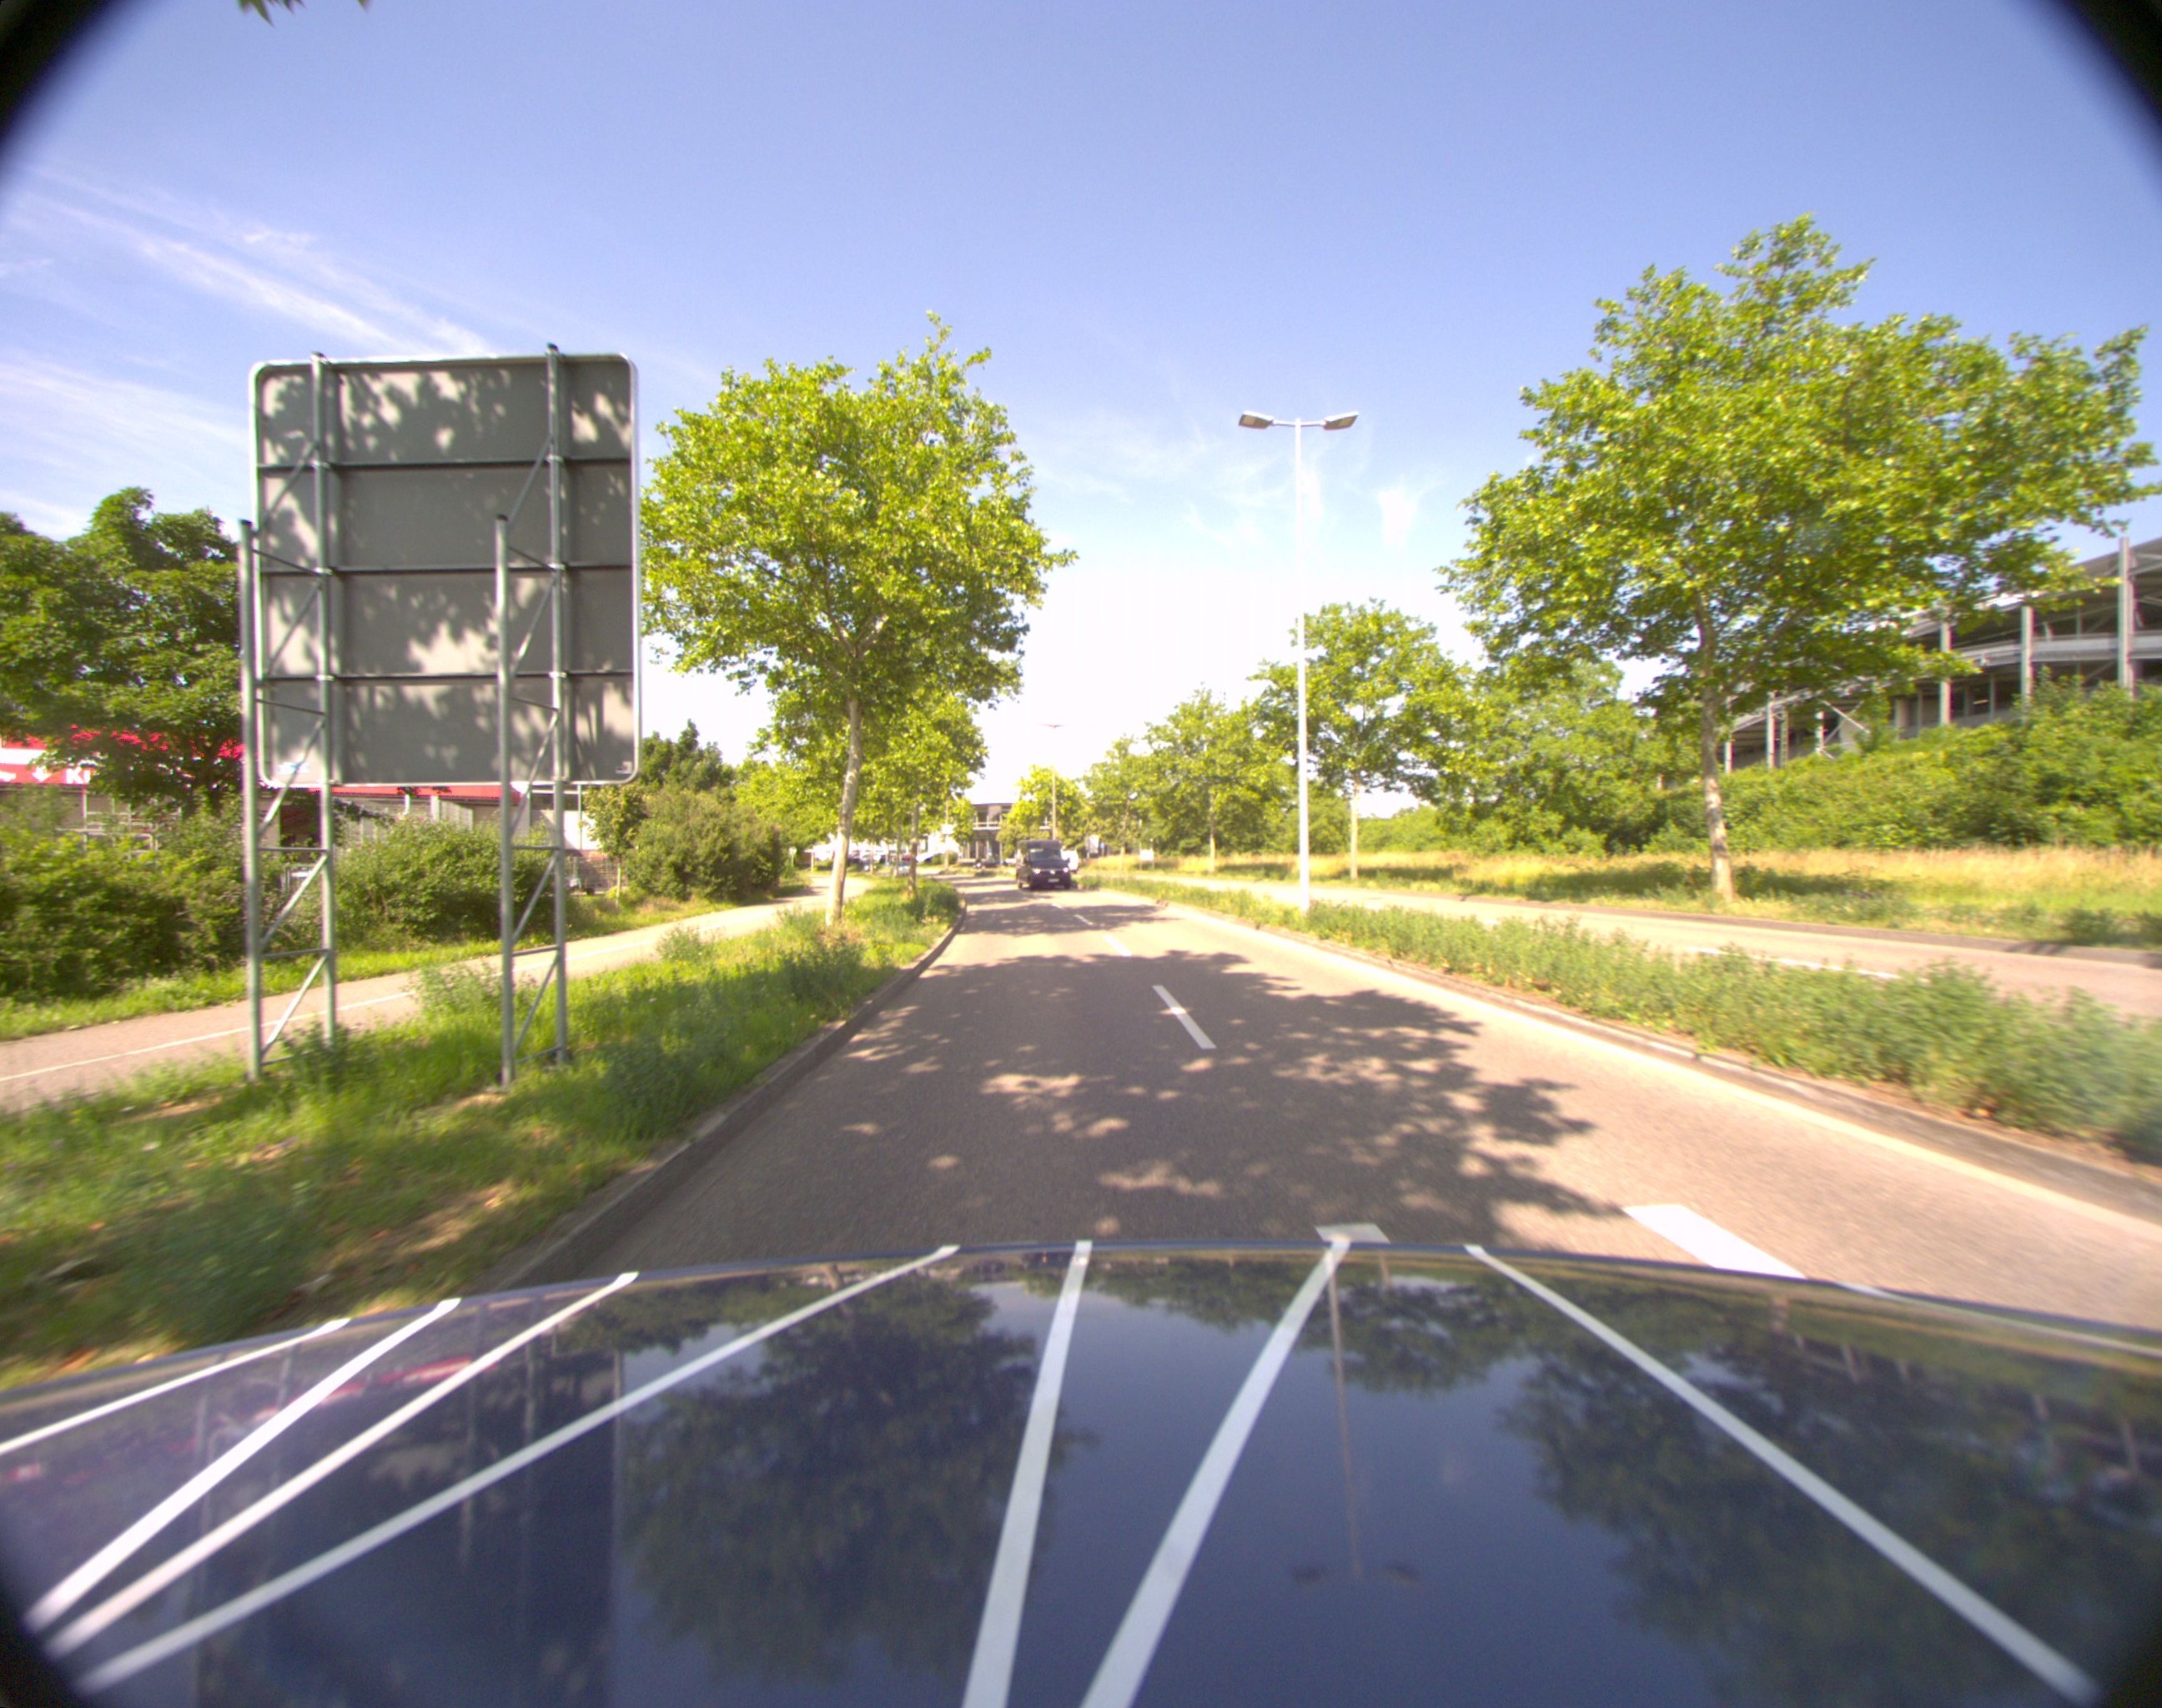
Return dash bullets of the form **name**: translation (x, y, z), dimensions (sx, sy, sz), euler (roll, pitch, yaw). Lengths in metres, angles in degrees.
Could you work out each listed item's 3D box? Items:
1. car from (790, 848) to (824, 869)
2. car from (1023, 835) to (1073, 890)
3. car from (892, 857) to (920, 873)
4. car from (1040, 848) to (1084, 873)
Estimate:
- **car**: translation (-49.282, 0.789, 136.543), dimensions (5.993, 3.412, 2.792), euler (-3, 1, 39)
- **car**: translation (-1.815, 0.394, 39.527), dimensions (2.022, 2.592, 6.164), euler (-2, 0, -8)
- **car**: translation (-17.471, 1.043, 75.687), dimensions (1.827, 1.512, 4.200), euler (-2, 1, -24)
- **car**: translation (-1.668, 0.532, 64.753), dimensions (2.003, 2.002, 4.506), euler (-2, 0, -27)
